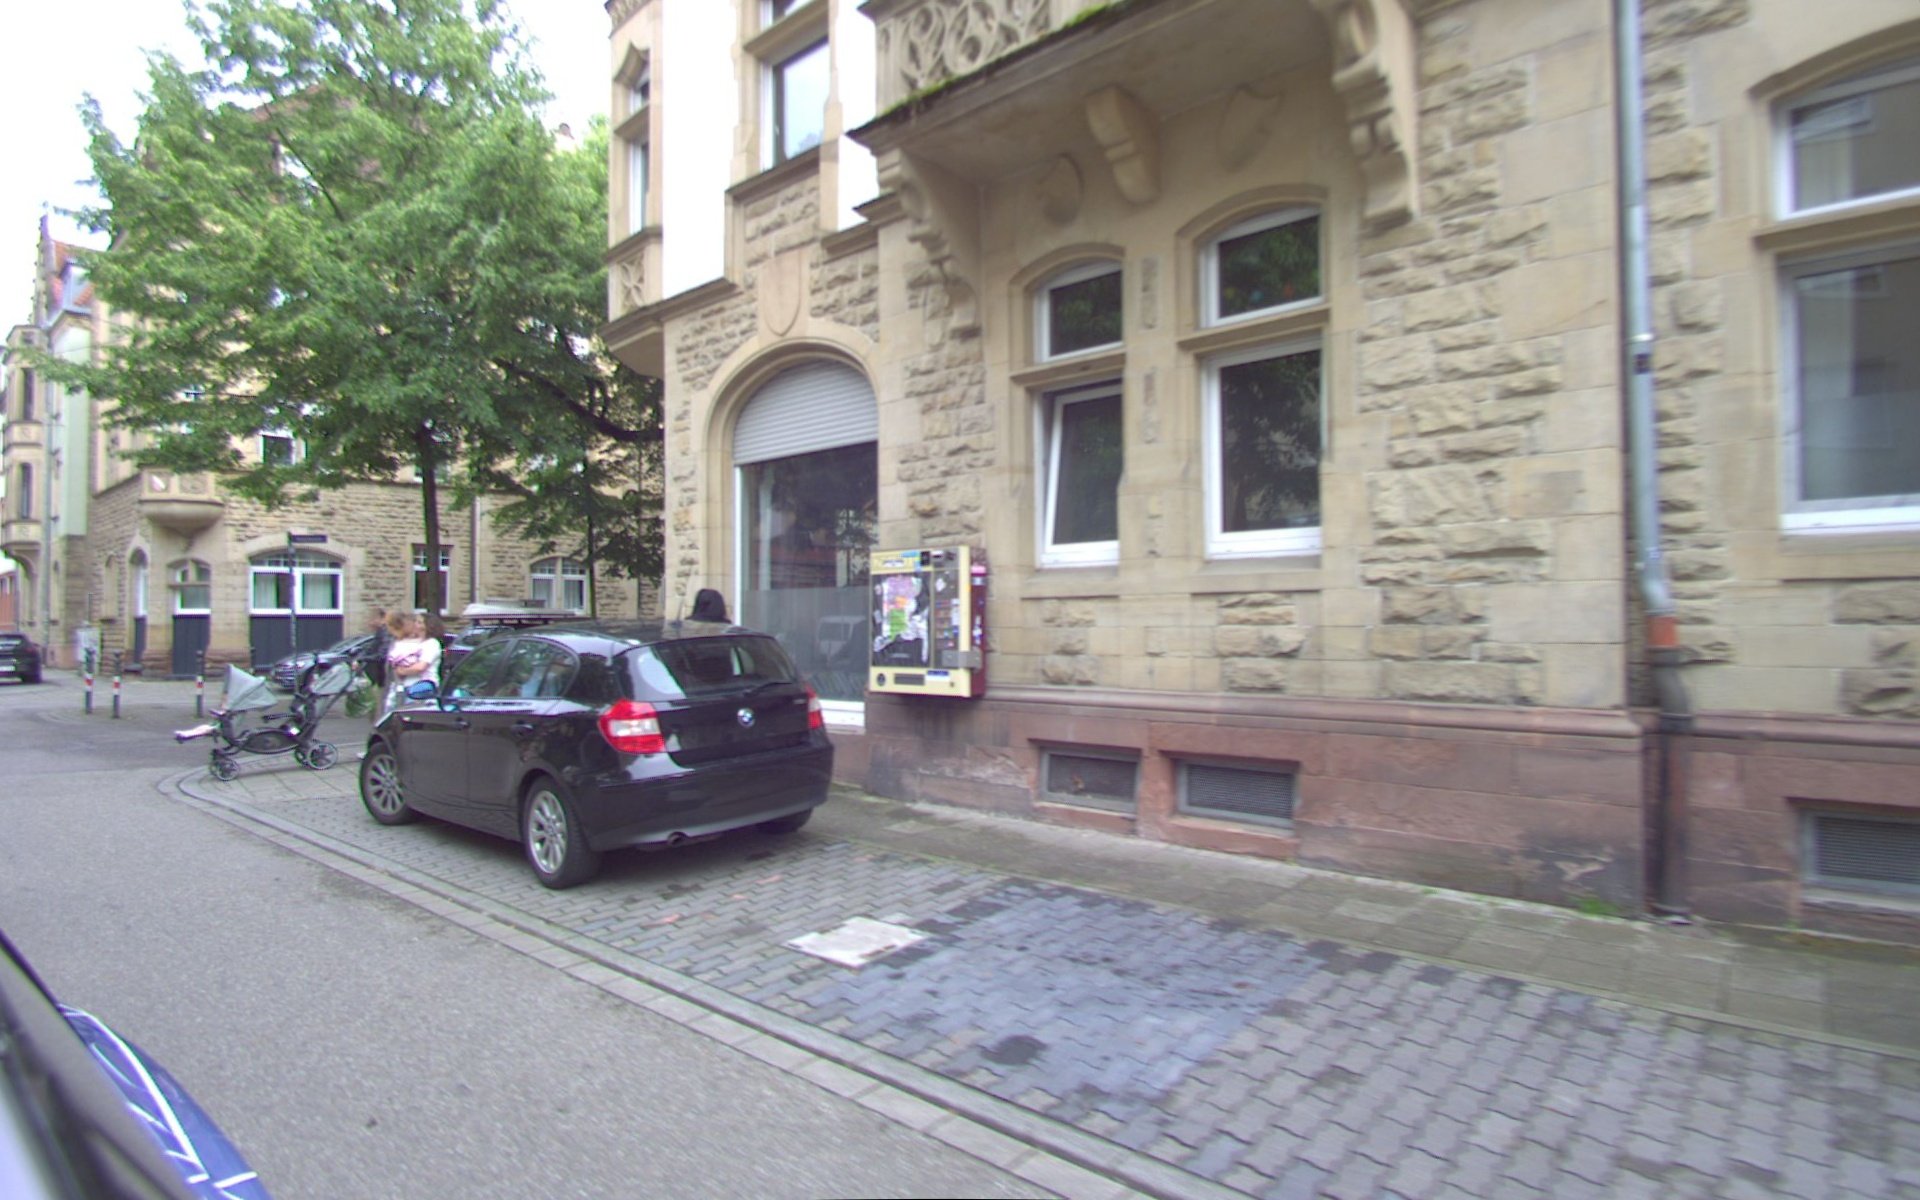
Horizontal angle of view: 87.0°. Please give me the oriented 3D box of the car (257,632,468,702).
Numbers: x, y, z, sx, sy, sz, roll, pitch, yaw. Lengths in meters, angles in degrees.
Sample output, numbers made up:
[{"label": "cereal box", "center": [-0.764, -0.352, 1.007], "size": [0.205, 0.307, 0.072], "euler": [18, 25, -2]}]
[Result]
[{"label": "car", "center": [-14.622, 1.588, 24.905], "size": [4.220, 1.477, 1.665], "euler": [2, 1, -42]}]

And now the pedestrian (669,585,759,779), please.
[{"label": "pedestrian", "center": [-2.038, 0.659, 8.382], "size": [0.546, 1.530, 0.510], "euler": [-2, -3, 41]}]

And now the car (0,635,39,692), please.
[{"label": "car", "center": [-26.259, 1.709, 27.348], "size": [3.882, 1.445, 1.708], "euler": [-3, -1, 43]}]

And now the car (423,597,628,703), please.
[{"label": "car", "center": [-8.877, 0.991, 20.649], "size": [3.944, 1.983, 1.815], "euler": [-1, -2, 29]}]

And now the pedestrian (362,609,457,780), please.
[{"label": "pedestrian", "center": [-5.394, 0.901, 9.948], "size": [0.621, 1.606, 0.671], "euler": [-1, -2, -8]}]

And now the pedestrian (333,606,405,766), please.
[{"label": "pedestrian", "center": [-6.368, 0.900, 10.908], "size": [0.528, 1.656, 0.522], "euler": [-2, -1, 43]}]

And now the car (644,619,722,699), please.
[{"label": "car", "center": [-6.370, 1.294, 23.515], "size": [1.626, 1.527, 3.623], "euler": [0, 2, -14]}]

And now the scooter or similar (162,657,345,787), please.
[{"label": "scooter or similar", "center": [-7.107, 1.187, 10.214], "size": [1.450, 1.112, 0.677], "euler": [-2, 0, -38]}]

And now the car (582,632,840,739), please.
[{"label": "car", "center": [-3.791, 1.284, 15.689], "size": [3.523, 1.471, 1.652], "euler": [2, -5, -40]}]

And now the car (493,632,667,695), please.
[{"label": "car", "center": [-10.516, 1.714, 28.190], "size": [4.220, 1.477, 1.665], "euler": [1, 1, -42]}]

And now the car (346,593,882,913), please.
[{"label": "car", "center": [-2.516, 0.775, 6.787], "size": [3.999, 1.506, 1.691], "euler": [-2, -1, 43]}]

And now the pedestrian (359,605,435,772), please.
[{"label": "pedestrian", "center": [-5.867, 0.893, 10.538], "size": [0.608, 1.656, 0.605], "euler": [0, -2, -37]}]
